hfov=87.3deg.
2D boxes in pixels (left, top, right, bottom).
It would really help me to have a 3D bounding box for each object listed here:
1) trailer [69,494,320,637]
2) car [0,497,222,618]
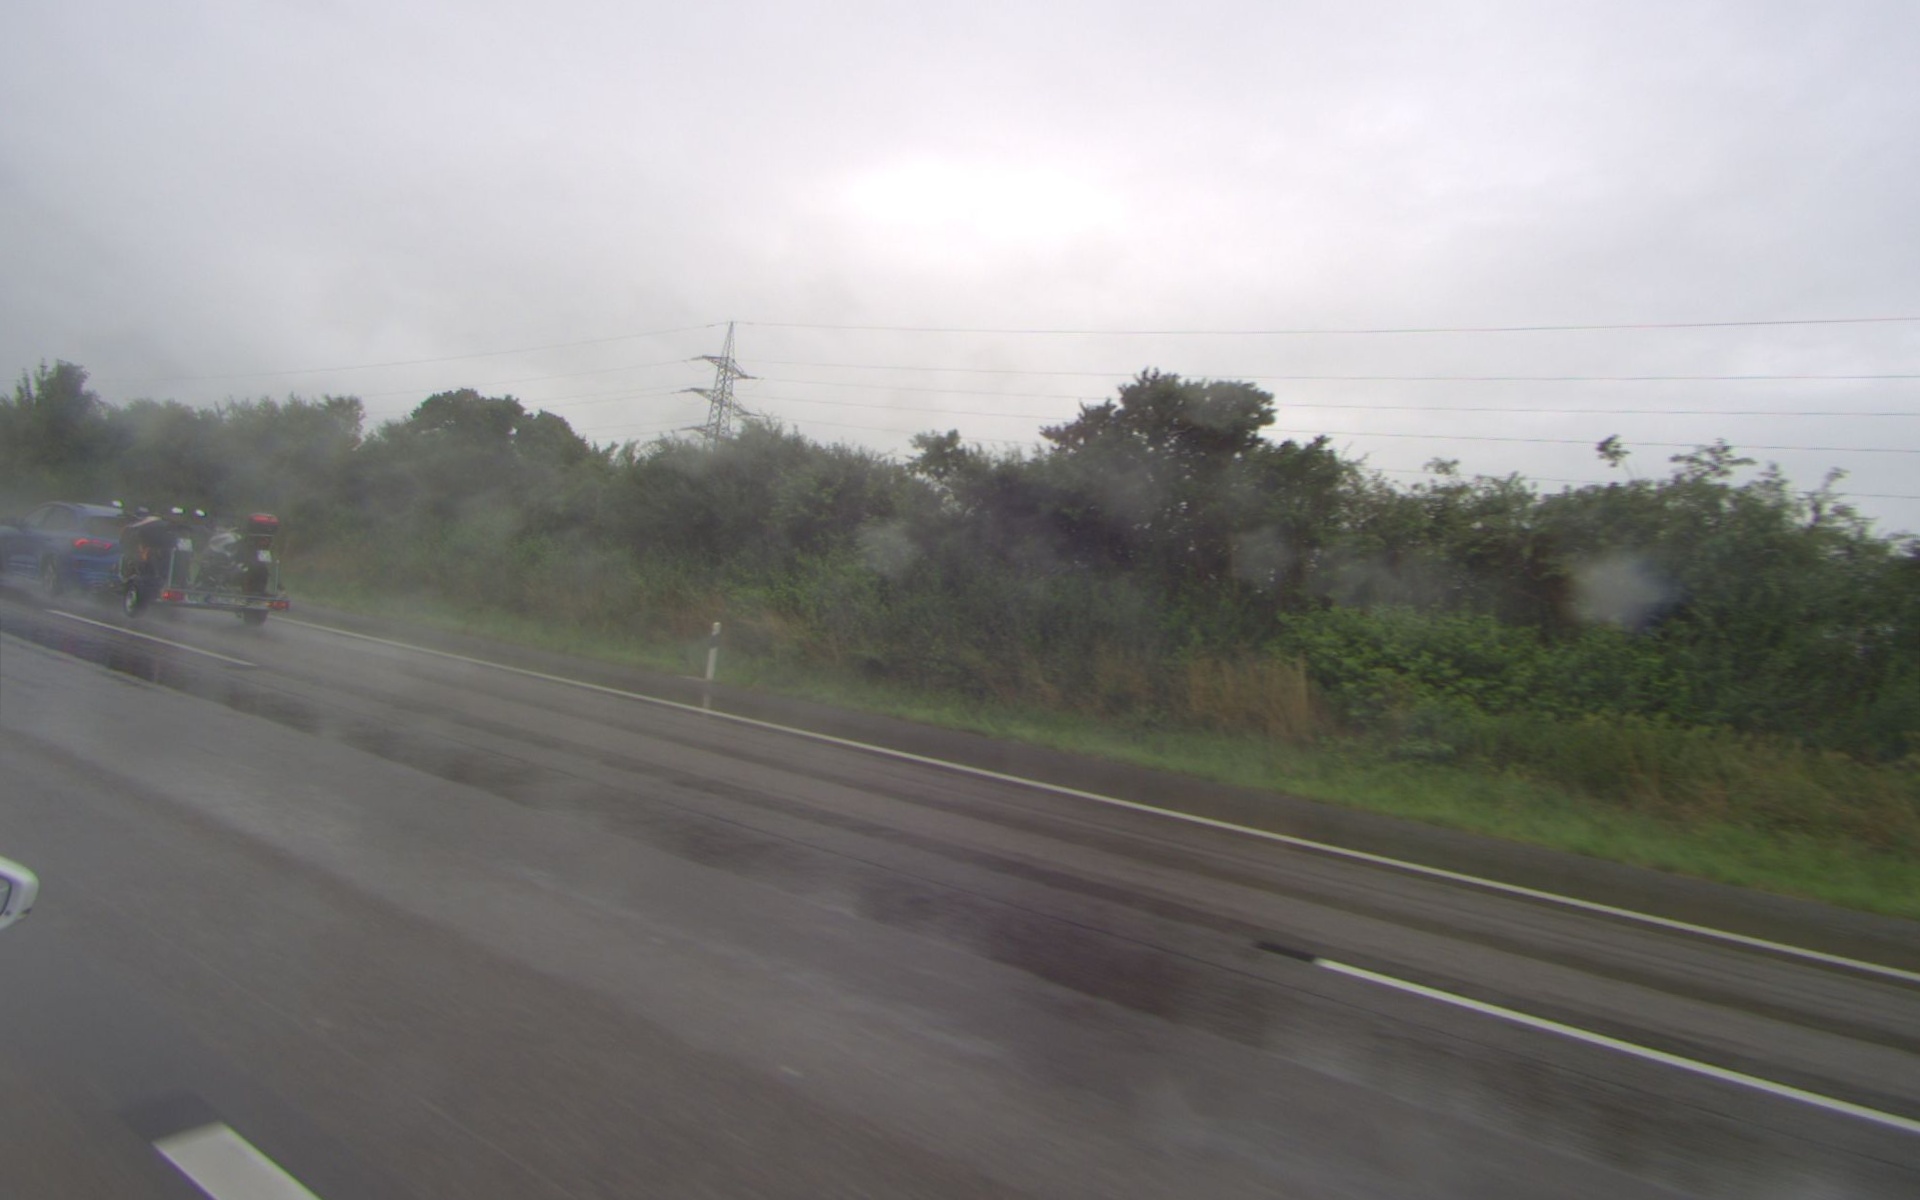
[{"bbox_3d":[-12.080,-0.537,15.882,3.135,1.806,1.983,6,-2,31],"label":"trailer"},{"bbox_3d":[-15.561,-0.809,17.900,4.908,1.638,1.998,6,-2,30],"label":"car"}]
